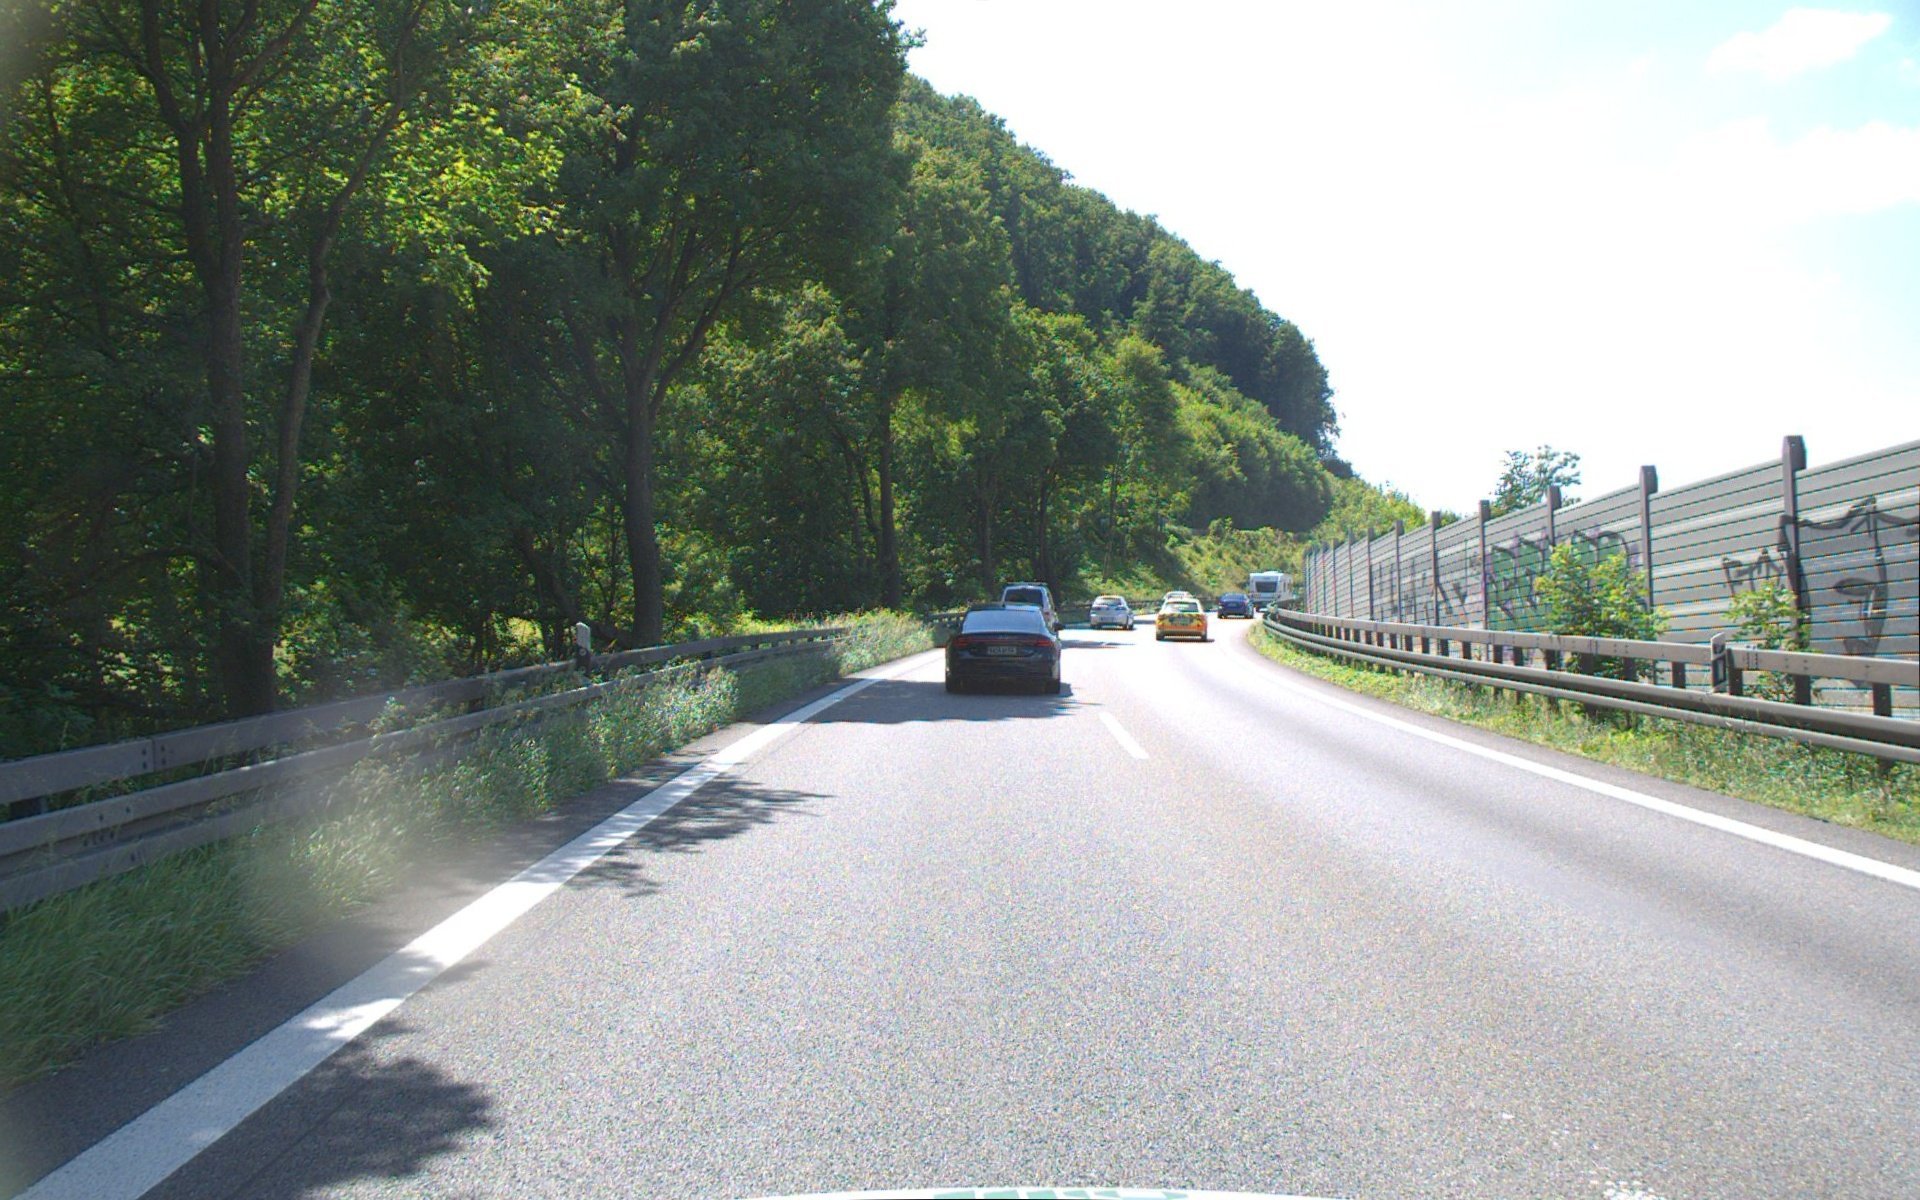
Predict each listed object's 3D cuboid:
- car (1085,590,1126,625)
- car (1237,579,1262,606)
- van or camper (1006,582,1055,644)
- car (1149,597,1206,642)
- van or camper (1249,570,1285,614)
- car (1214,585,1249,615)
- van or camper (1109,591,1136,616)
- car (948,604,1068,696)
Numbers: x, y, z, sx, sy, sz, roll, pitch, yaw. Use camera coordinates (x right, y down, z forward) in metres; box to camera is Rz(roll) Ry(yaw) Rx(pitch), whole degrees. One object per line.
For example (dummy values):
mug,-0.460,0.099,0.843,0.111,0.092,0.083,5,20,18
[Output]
car,6.299,0.344,71.448,1.710,1.456,4.002,0,0,5
car,23.326,-0.590,133.139,1.951,2.049,4.003,-1,0,10
van or camper,2.232,0.395,51.812,1.362,1.847,4.002,0,0,5
car,7.700,0.670,58.353,1.823,1.514,4.003,-1,0,10
van or camper,21.438,-0.540,115.404,2.403,2.969,6.131,-1,0,11
car,15.995,0.011,97.307,1.735,1.665,4.003,0,0,13
van or camper,10.263,0.245,104.177,1.524,1.561,3.508,-1,0,9
car,0.722,0.784,27.439,1.800,1.373,3.999,1,-1,-1
